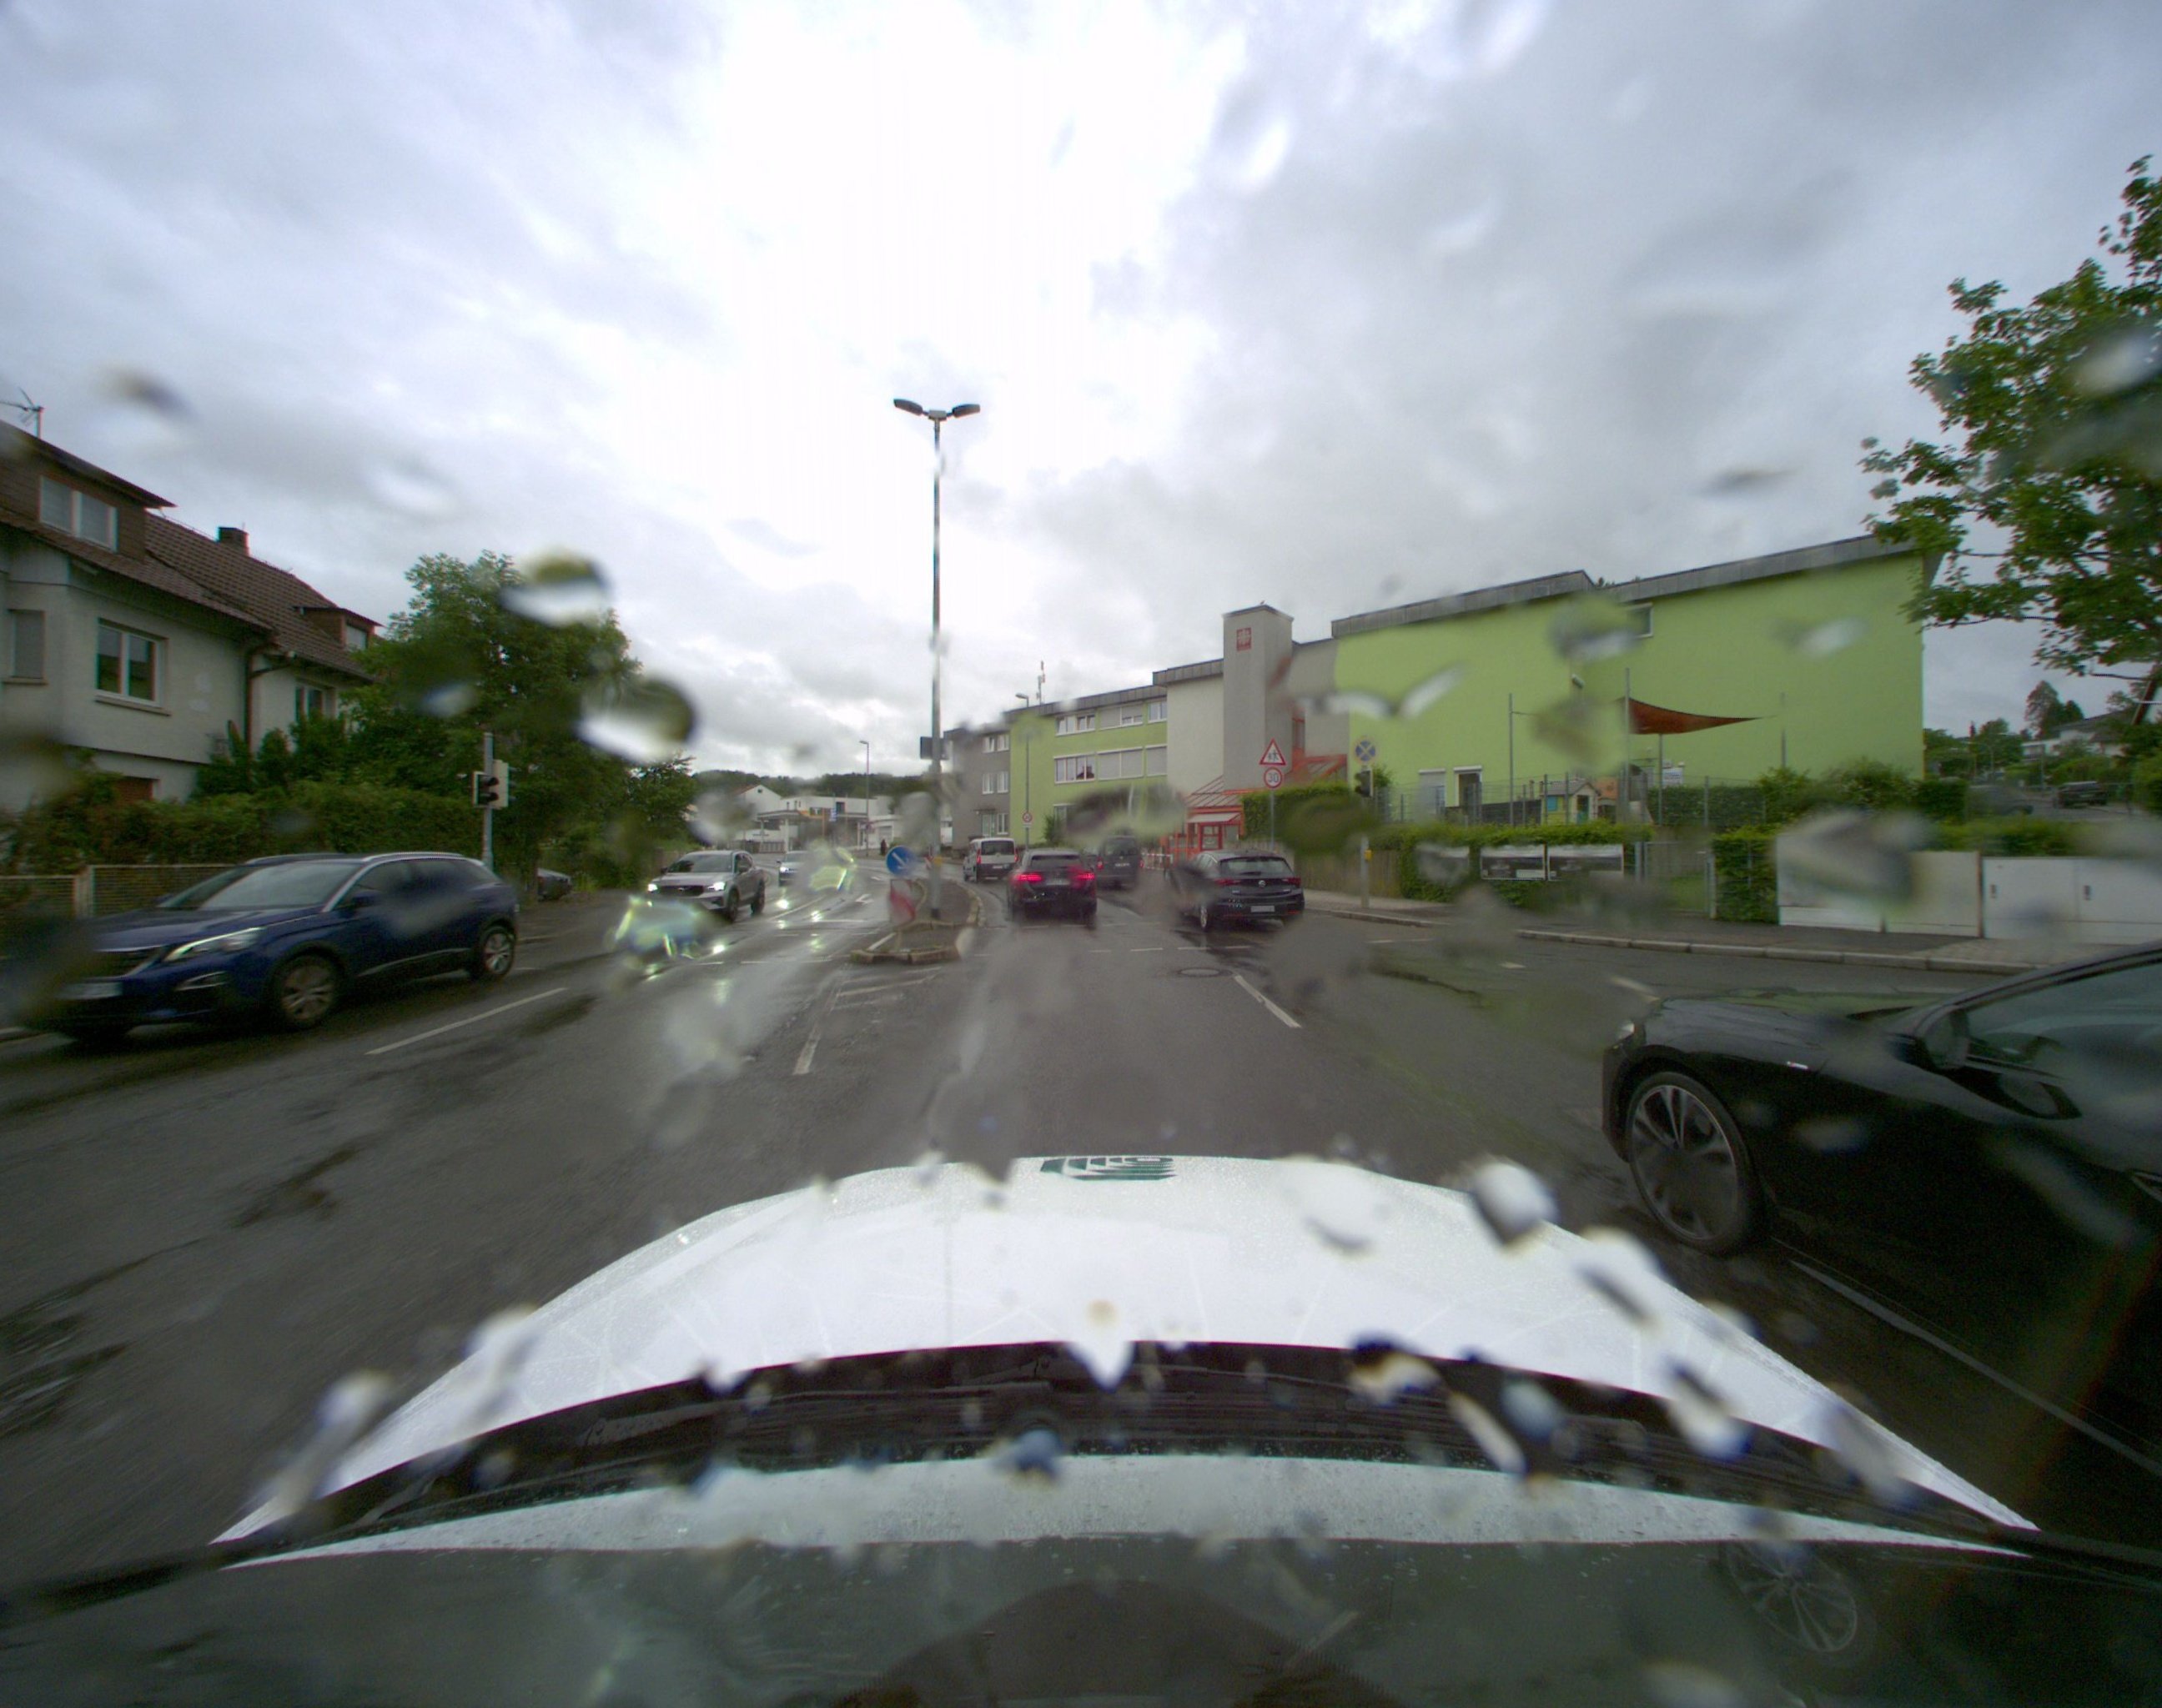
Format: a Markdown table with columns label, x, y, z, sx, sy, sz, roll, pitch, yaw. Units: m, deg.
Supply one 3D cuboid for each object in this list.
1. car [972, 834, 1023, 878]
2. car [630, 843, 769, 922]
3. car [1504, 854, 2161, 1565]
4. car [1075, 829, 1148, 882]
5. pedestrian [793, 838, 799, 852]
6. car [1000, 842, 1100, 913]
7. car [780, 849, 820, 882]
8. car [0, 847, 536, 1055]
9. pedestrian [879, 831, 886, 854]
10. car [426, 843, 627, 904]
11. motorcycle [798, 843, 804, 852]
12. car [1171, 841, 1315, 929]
| label | x | y | z | sx | sy | sz | roll | pitch | yaw |
| --- | --- | --- | --- | --- | --- | --- | --- | --- | --- |
| car | -3.634 | 0.104 | 34.718 | 1.993 | 1.737 | 3.988 | -1 | -1 | -8 |
| car | -9.049 | 0.635 | 19.743 | 1.882 | 1.677 | 4.219 | -1 | -1 | -8 |
| car | 3.104 | 0.711 | 1.879 | 1.860 | 1.424 | 4.740 | -1 | -1 | 1 |
| car | 1.018 | 0.072 | 29.046 | 1.838 | 1.767 | 3.987 | 0 | -1 | -9 |
| pedestrian | -35.592 | -1.107 | 101.859 | 0.613 | 1.656 | 0.580 | 0 | -1 | -28 |
| car | -0.851 | 0.509 | 19.090 | 1.992 | 1.484 | 3.989 | -1 | -1 | -7 |
| car | -13.401 | 0.538 | 38.997 | 1.680 | 1.450 | 4.660 | 0 | -1 | -18 |
| car | -8.044 | 0.736 | 8.549 | 1.861 | 1.553 | 4.439 | -2 | 1 | -5 |
| pedestrian | -17.979 | -1.037 | 73.666 | 0.613 | 2.014 | 0.714 | 0 | -1 | -15 |
| car | -14.876 | 0.521 | 22.127 | 3.993 | 1.395 | 1.923 | 4 | -1 | -15 |
| motorcycle | -35.119 | -0.805 | 101.972 | 0.465 | 1.055 | 1.377 | 0 | -1 | -29 |
| car | 2.955 | 0.513 | 15.734 | 1.753 | 1.449 | 3.995 | -1 | 0 | -4 |
